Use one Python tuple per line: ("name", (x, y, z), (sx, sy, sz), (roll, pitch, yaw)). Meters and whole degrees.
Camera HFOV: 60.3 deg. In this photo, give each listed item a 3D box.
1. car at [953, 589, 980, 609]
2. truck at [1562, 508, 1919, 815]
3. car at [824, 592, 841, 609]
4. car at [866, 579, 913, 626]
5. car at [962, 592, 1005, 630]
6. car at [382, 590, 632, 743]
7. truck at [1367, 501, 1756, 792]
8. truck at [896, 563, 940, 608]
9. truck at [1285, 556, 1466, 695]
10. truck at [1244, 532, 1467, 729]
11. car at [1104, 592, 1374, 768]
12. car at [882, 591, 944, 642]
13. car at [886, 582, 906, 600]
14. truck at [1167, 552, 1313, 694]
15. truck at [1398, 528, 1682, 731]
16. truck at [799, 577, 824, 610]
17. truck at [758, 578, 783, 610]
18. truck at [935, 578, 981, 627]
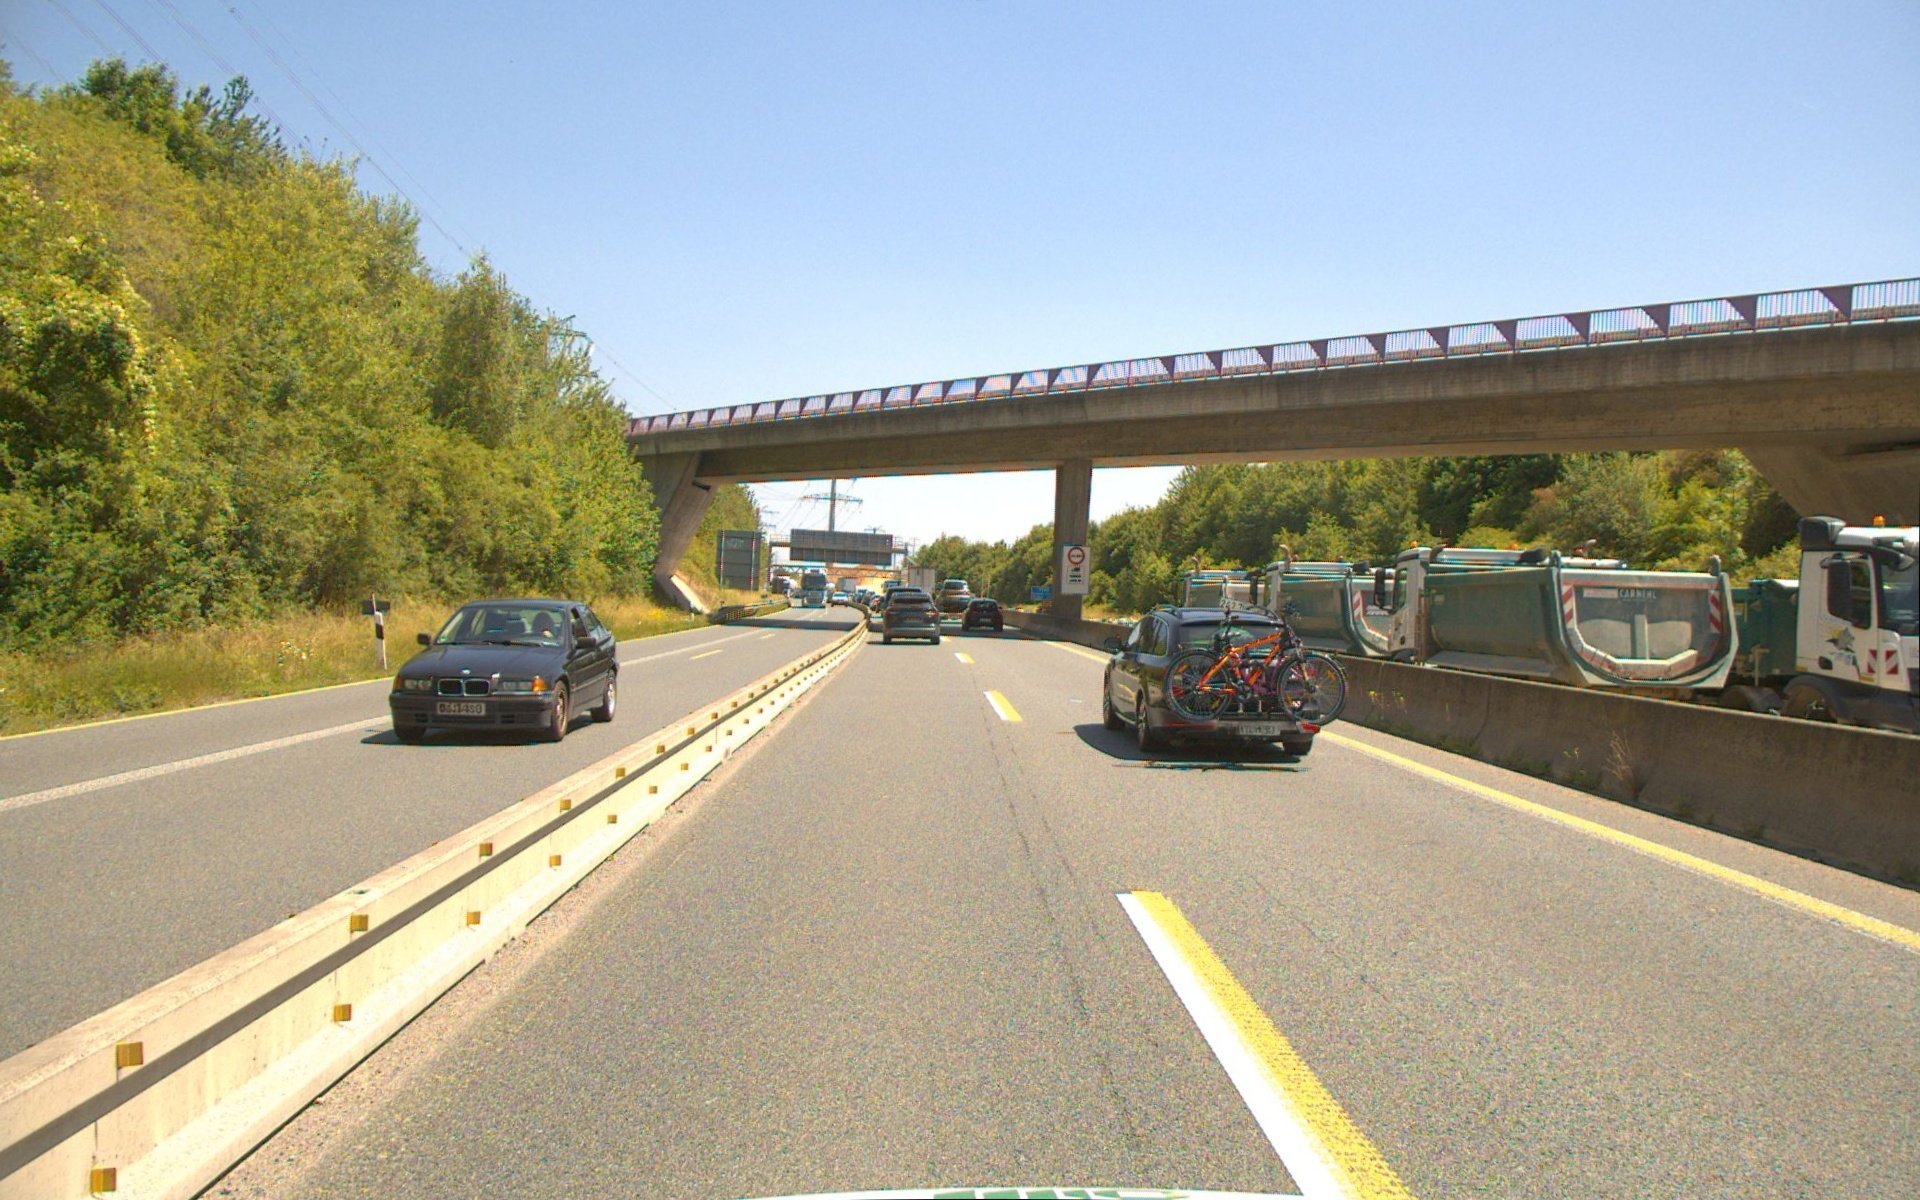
("car", (0.515, -0.103, 138.195), (1.862, 1.613, 4.271), (1, 0, -5))
("truck", (11.988, 0.738, 24.261), (2.633, 3.619, 9.322), (1, 0, -2))
("car", (-14.240, 0.060, 184.300), (1.728, 1.870, 3.995), (1, 0, -6))
("car", (-3.097, 0.117, 73.169), (1.860, 2.003, 4.276), (1, 0, 0))
("car", (1.045, 0.477, 75.195), (1.860, 1.613, 4.276), (1, 0, 0))
("car", (-4.726, 0.647, 17.830), (1.640, 1.418, 4.070), (1, 0, -1))
("truck", (9.175, 0.610, 26.712), (2.633, 3.826, 9.322), (1, 0, -1))
("truck", (-3.946, -1.309, 152.155), (3.229, 3.912, 10.097), (1, 0, -6))
("truck", (11.908, 0.662, 48.414), (2.633, 3.619, 9.322), (1, 0, -2))
("truck", (8.799, 0.597, 38.070), (2.633, 3.923, 9.322), (1, 0, -1))
("car", (2.696, 0.722, 17.160), (1.861, 1.516, 4.946), (1, 0, -1))
("car", (-1.469, 0.504, 53.196), (1.860, 1.531, 4.276), (1, 0, 0))
("car", (-7.279, -1.021, 187.544), (1.863, 2.003, 4.270), (1, 0, -6))
("truck", (8.372, 0.630, 50.645), (2.633, 3.910, 9.322), (1, 0, -1))
("truck", (12.247, 0.553, 36.054), (2.633, 3.792, 9.322), (1, 0, -2))
("truck", (-15.394, -0.704, 171.039), (2.460, 3.242, 10.097), (1, 0, -6))
("truck", (-20.045, -0.670, 175.536), (2.460, 3.242, 10.097), (1, 0, -6))
("truck", (-0.169, 0.094, 94.266), (2.357, 2.603, 7.497), (1, 0, -2))
